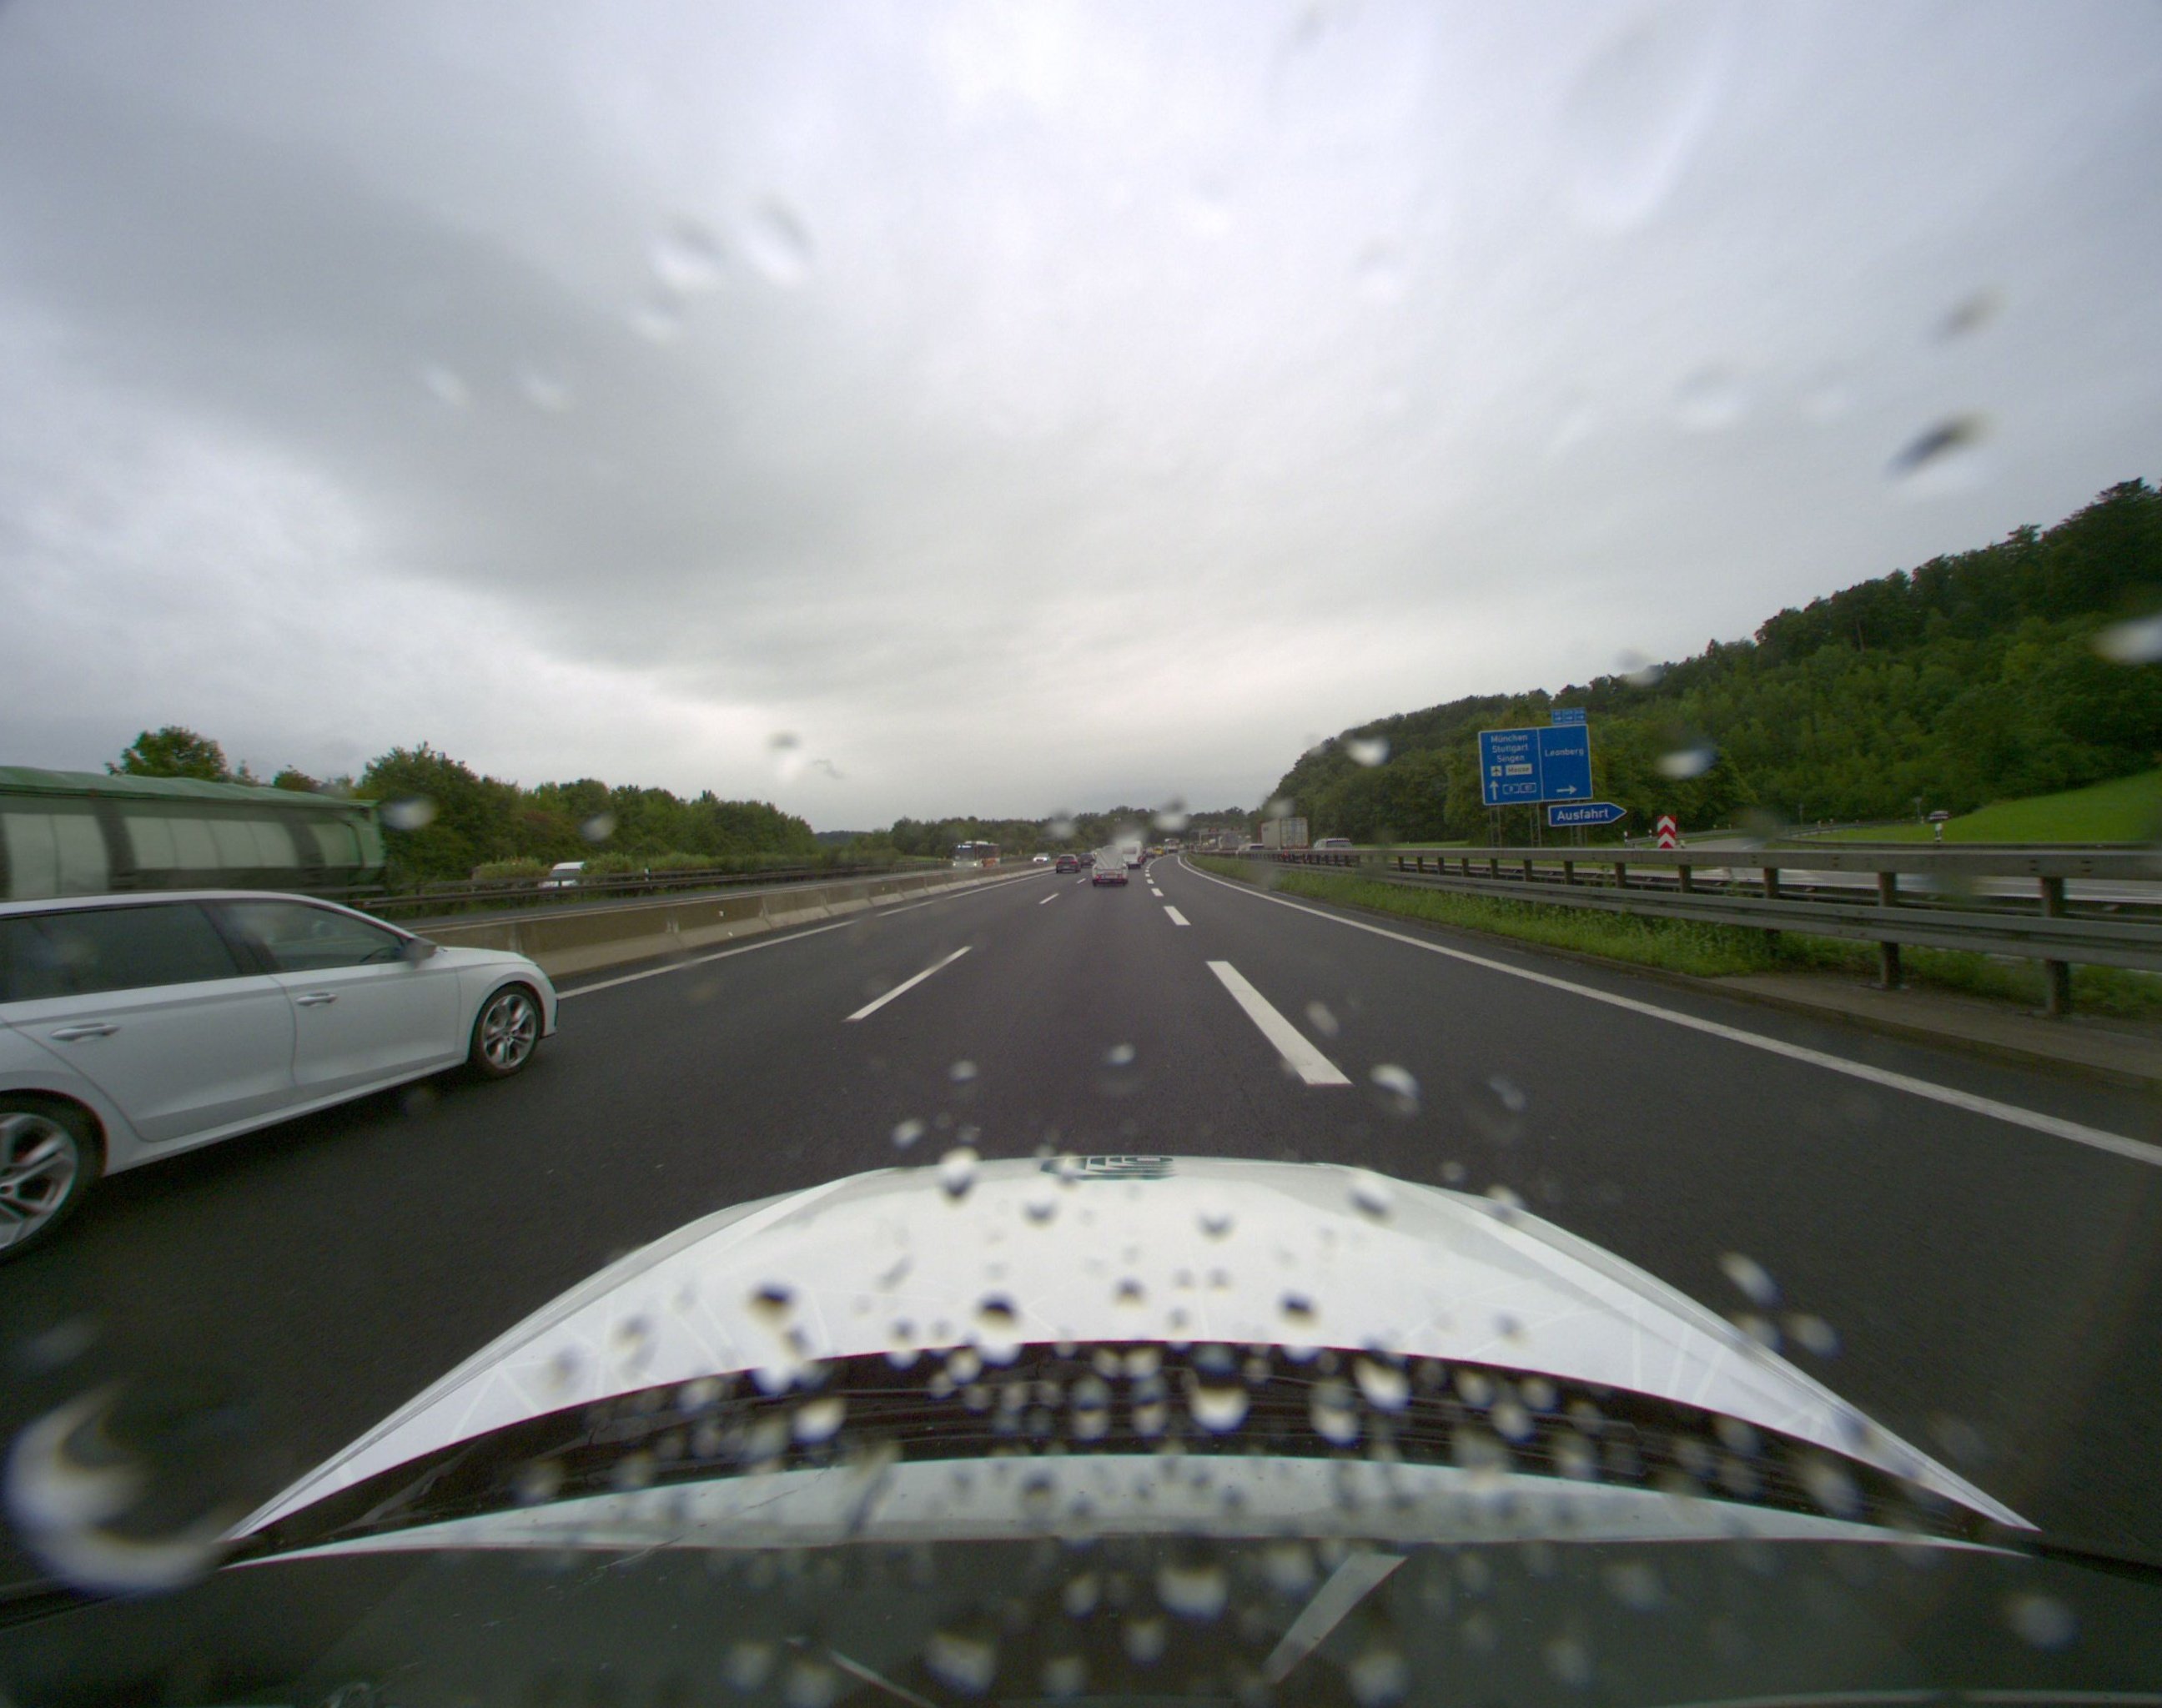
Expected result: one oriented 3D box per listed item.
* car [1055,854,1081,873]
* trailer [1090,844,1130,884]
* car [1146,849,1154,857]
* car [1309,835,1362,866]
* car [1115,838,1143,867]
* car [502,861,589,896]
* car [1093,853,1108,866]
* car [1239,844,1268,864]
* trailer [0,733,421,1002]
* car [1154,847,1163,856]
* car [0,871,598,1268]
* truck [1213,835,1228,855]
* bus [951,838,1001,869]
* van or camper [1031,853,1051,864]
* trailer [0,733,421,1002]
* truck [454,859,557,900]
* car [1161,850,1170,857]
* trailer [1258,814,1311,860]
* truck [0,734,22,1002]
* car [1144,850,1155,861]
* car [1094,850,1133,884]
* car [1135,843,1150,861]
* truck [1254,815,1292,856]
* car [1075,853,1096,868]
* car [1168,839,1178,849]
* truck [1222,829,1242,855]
[{"bbox_3d":[-1.003,0.767,65.412,1.668,1.456,4.004,-2,0,4],"label":"car"},{"bbox_3d":[1.464,0.470,39.868,1.668,1.812,4.005,-2,0,5],"label":"trailer"},{"bbox_3d":[18.045,-0.265,214.402,1.985,2.014,4.004,-2,0,4],"label":"car"},{"bbox_3d":[12.807,-0.166,41.139,1.659,1.382,4.132,-4,0,5],"label":"car"},{"bbox_3d":[4.557,-0.078,77.405,2.497,2.585,5.704,-2,0,3],"label":"car"},{"bbox_3d":[-30.244,1.365,46.188,1.793,1.786,4.416,-2,0,3],"label":"car"},{"bbox_3d":[2.500,0.712,105.269,1.768,1.640,4.047,-2,0,4],"label":"car"},{"bbox_3d":[14.984,0.035,70.877,1.762,1.610,4.648,-2,0,4],"label":"car"},{"bbox_3d":[-16.406,0.242,13.703,2.891,3.749,8.934,-2,0,3],"label":"trailer"},{"bbox_3d":[16.452,-0.597,173.797,1.666,1.812,4.009,-2,0,8],"label":"car"},{"bbox_3d":[-4.999,0.880,4.398,1.812,1.456,4.778,-2,0,1],"label":"car"},{"bbox_3d":[34.151,-2.232,200.125,3.197,4.666,13.062,-2,0,8],"label":"truck"},{"bbox_3d":[-11.175,-0.057,87.873,2.685,2.958,11.914,-4,-1,5],"label":"bus"},{"bbox_3d":[-5.220,0.587,106.569,1.739,1.447,4.594,-2,0,6],"label":"van or camper"},{"bbox_3d":[-16.406,0.242,13.703,2.891,3.749,8.934,-2,0,3],"label":"trailer"},{"bbox_3d":[-35.319,1.496,50.245,2.019,2.241,6.156,-2,0,-1],"label":"truck"},{"bbox_3d":[20.116,-0.162,193.767,2.027,1.683,4.008,-2,0,7],"label":"car"},{"bbox_3d":[18.929,-1.444,76.535,2.593,3.894,12.502,-2,0,4],"label":"trailer"},{"bbox_3d":[-16.674,0.214,8.661,2.875,3.749,5.949,-2,-1,3],"label":"truck"},{"bbox_3d":[12.113,0.239,144.453,1.669,1.812,4.003,-2,0,3],"label":"car"},{"bbox_3d":[1.787,0.668,43.364,1.810,1.616,4.784,-2,0,5],"label":"car"},{"bbox_3d":[7.369,-0.273,97.224,1.668,2.067,4.004,-2,0,4],"label":"car"},{"bbox_3d":[19.303,-1.774,82.208,2.605,3.884,6.398,-2,-1,4],"label":"truck"},{"bbox_3d":[0.484,0.624,84.446,1.757,1.456,4.006,-2,0,5],"label":"car"},{"bbox_3d":[25.566,-2.723,227.116,2.502,2.574,5.324,-2,0,8],"label":"car"},{"bbox_3d":[28.576,-2.147,154.610,3.197,4.666,13.064,-2,0,9],"label":"truck"}]
